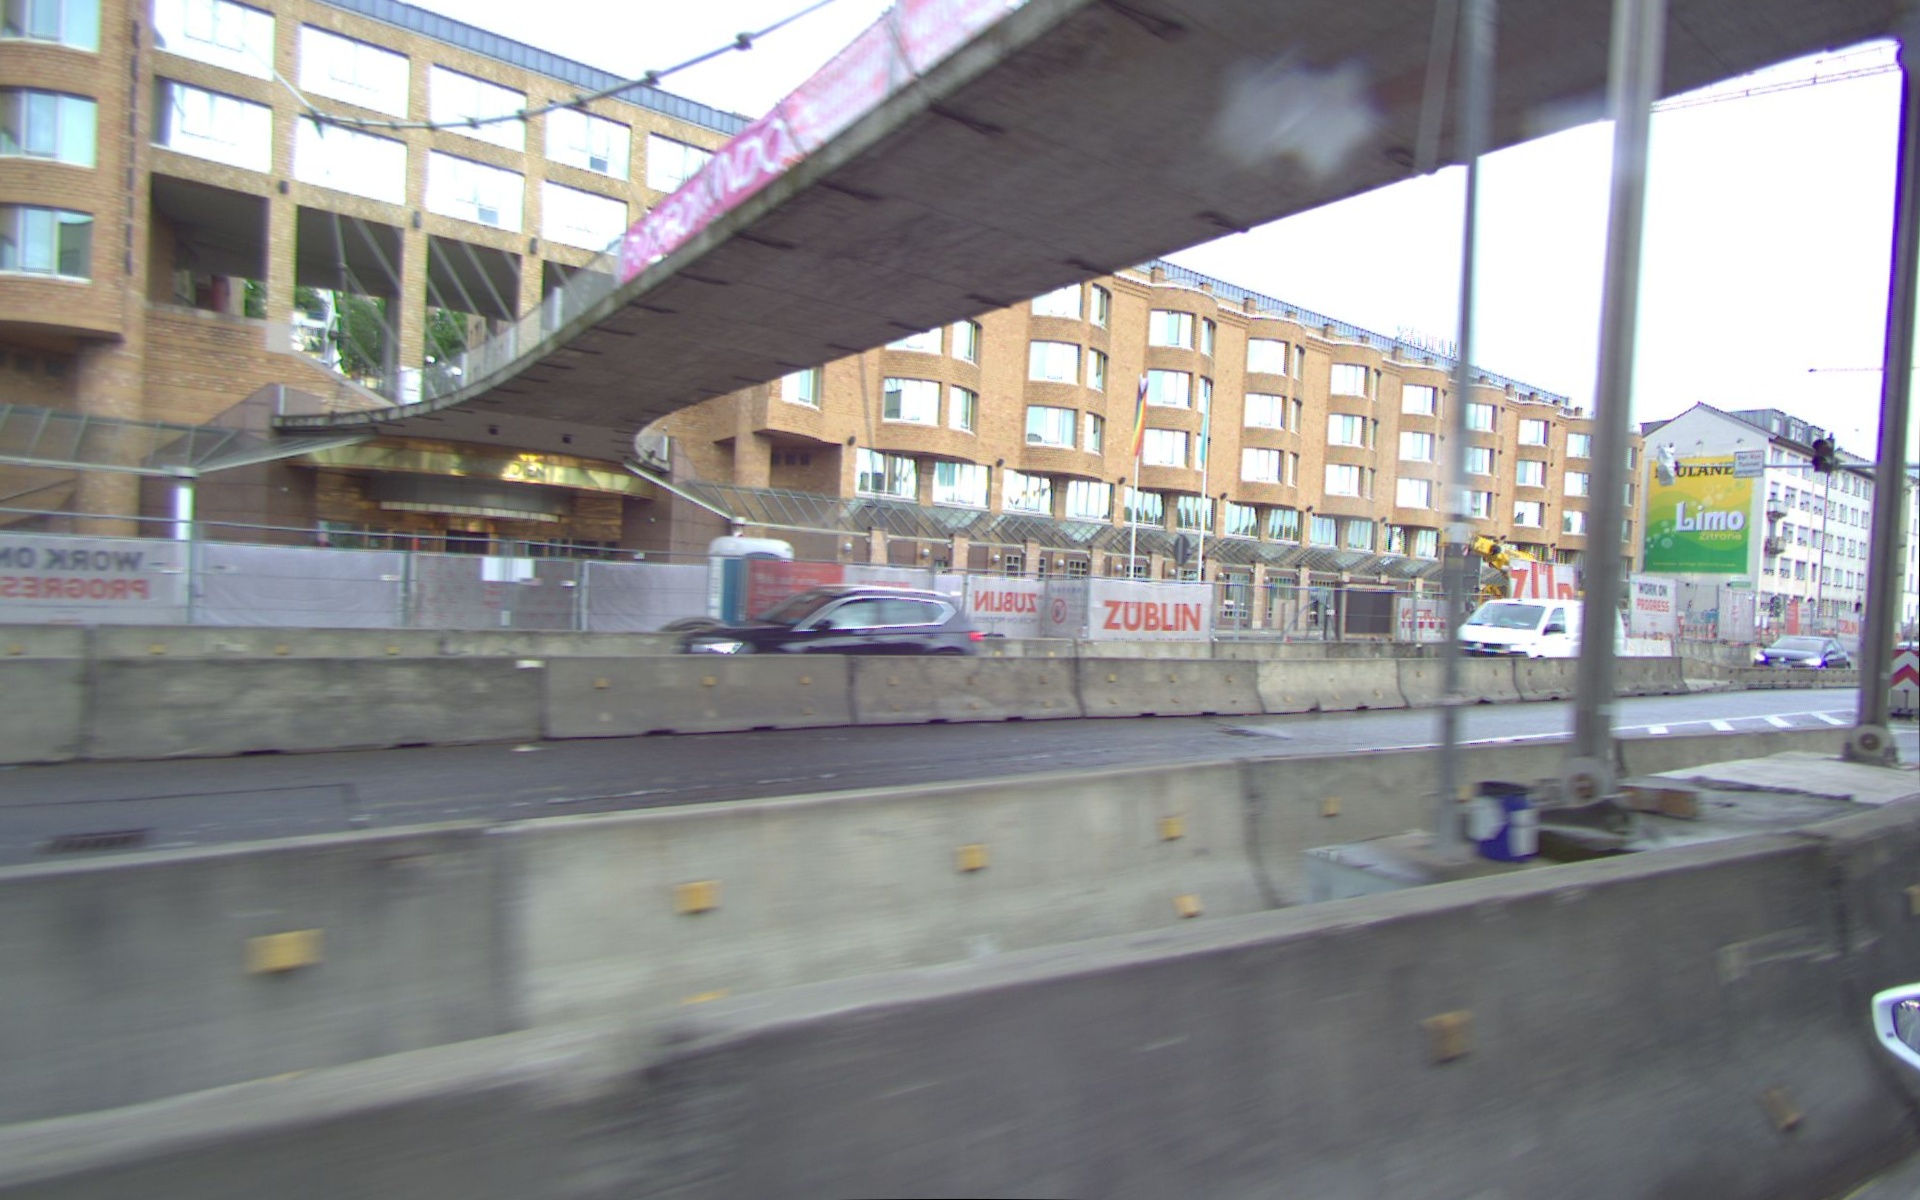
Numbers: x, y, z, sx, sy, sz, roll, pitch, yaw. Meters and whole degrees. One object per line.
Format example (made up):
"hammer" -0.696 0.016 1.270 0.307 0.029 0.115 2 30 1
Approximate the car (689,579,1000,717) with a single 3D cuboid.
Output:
"car" -1.559 0.610 13.906 3.860 1.645 1.795 2 1 -32

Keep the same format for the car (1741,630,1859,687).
"car" 27.541 1.886 32.912 3.990 1.645 1.795 2 1 -32

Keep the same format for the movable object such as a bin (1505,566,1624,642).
"movable object such as a bin" 20.172 0.196 33.462 4.254 2.307 2.011 3 -3 -38

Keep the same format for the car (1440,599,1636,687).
"car" 13.760 0.992 23.807 5.243 1.846 1.795 2 1 -33
